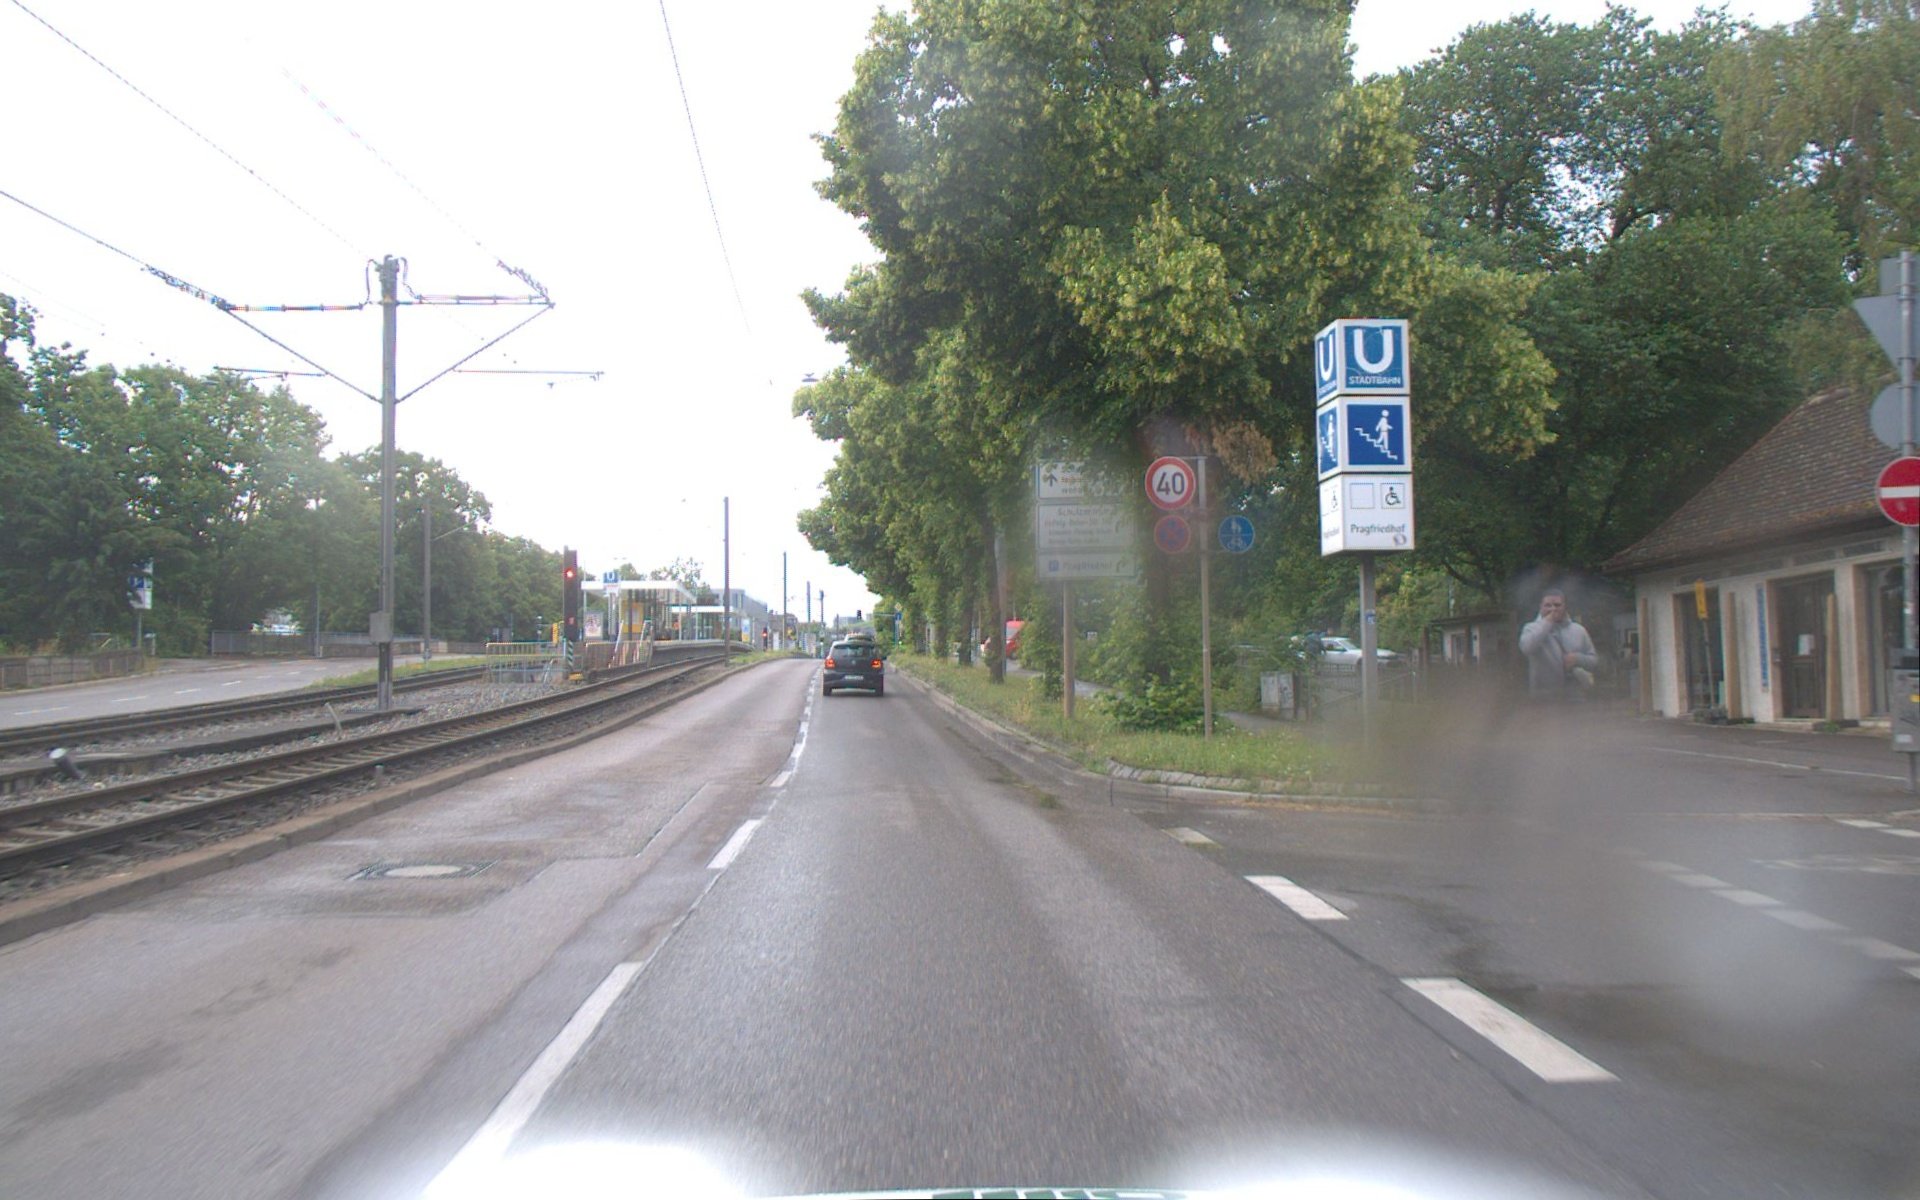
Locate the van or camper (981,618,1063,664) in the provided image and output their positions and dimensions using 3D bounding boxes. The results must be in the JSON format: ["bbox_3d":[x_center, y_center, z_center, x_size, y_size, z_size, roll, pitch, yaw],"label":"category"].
[{"bbox_3d":[3.767,2.501,99.774,2.003,2.448,5.364,2,-2,39],"label":"van or camper"}]

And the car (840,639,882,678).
[{"bbox_3d":[-4.052,2.357,67.535,1.654,1.544,3.997,0,-1,-4],"label":"car"}]

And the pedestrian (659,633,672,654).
[{"bbox_3d":[-17.825,2.642,100.205,0.696,1.247,0.619,0,-2,-4],"label":"pedestrian"}]

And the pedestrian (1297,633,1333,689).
[{"bbox_3d":[13.323,2.281,62.072,0.949,2.049,0.942,1,-2,-27],"label":"pedestrian"}]

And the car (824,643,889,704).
[{"bbox_3d":[-2.826,1.966,45.161,1.692,1.568,3.997,0,-1,-4],"label":"car"}]

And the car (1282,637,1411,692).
[{"bbox_3d":[14.636,2.441,62.786,1.931,1.867,4.396,4,-2,-44],"label":"car"}]

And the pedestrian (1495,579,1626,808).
[{"bbox_3d":[5.072,0.779,14.012,0.837,1.886,0.737,0,-1,0],"label":"pedestrian"}]
